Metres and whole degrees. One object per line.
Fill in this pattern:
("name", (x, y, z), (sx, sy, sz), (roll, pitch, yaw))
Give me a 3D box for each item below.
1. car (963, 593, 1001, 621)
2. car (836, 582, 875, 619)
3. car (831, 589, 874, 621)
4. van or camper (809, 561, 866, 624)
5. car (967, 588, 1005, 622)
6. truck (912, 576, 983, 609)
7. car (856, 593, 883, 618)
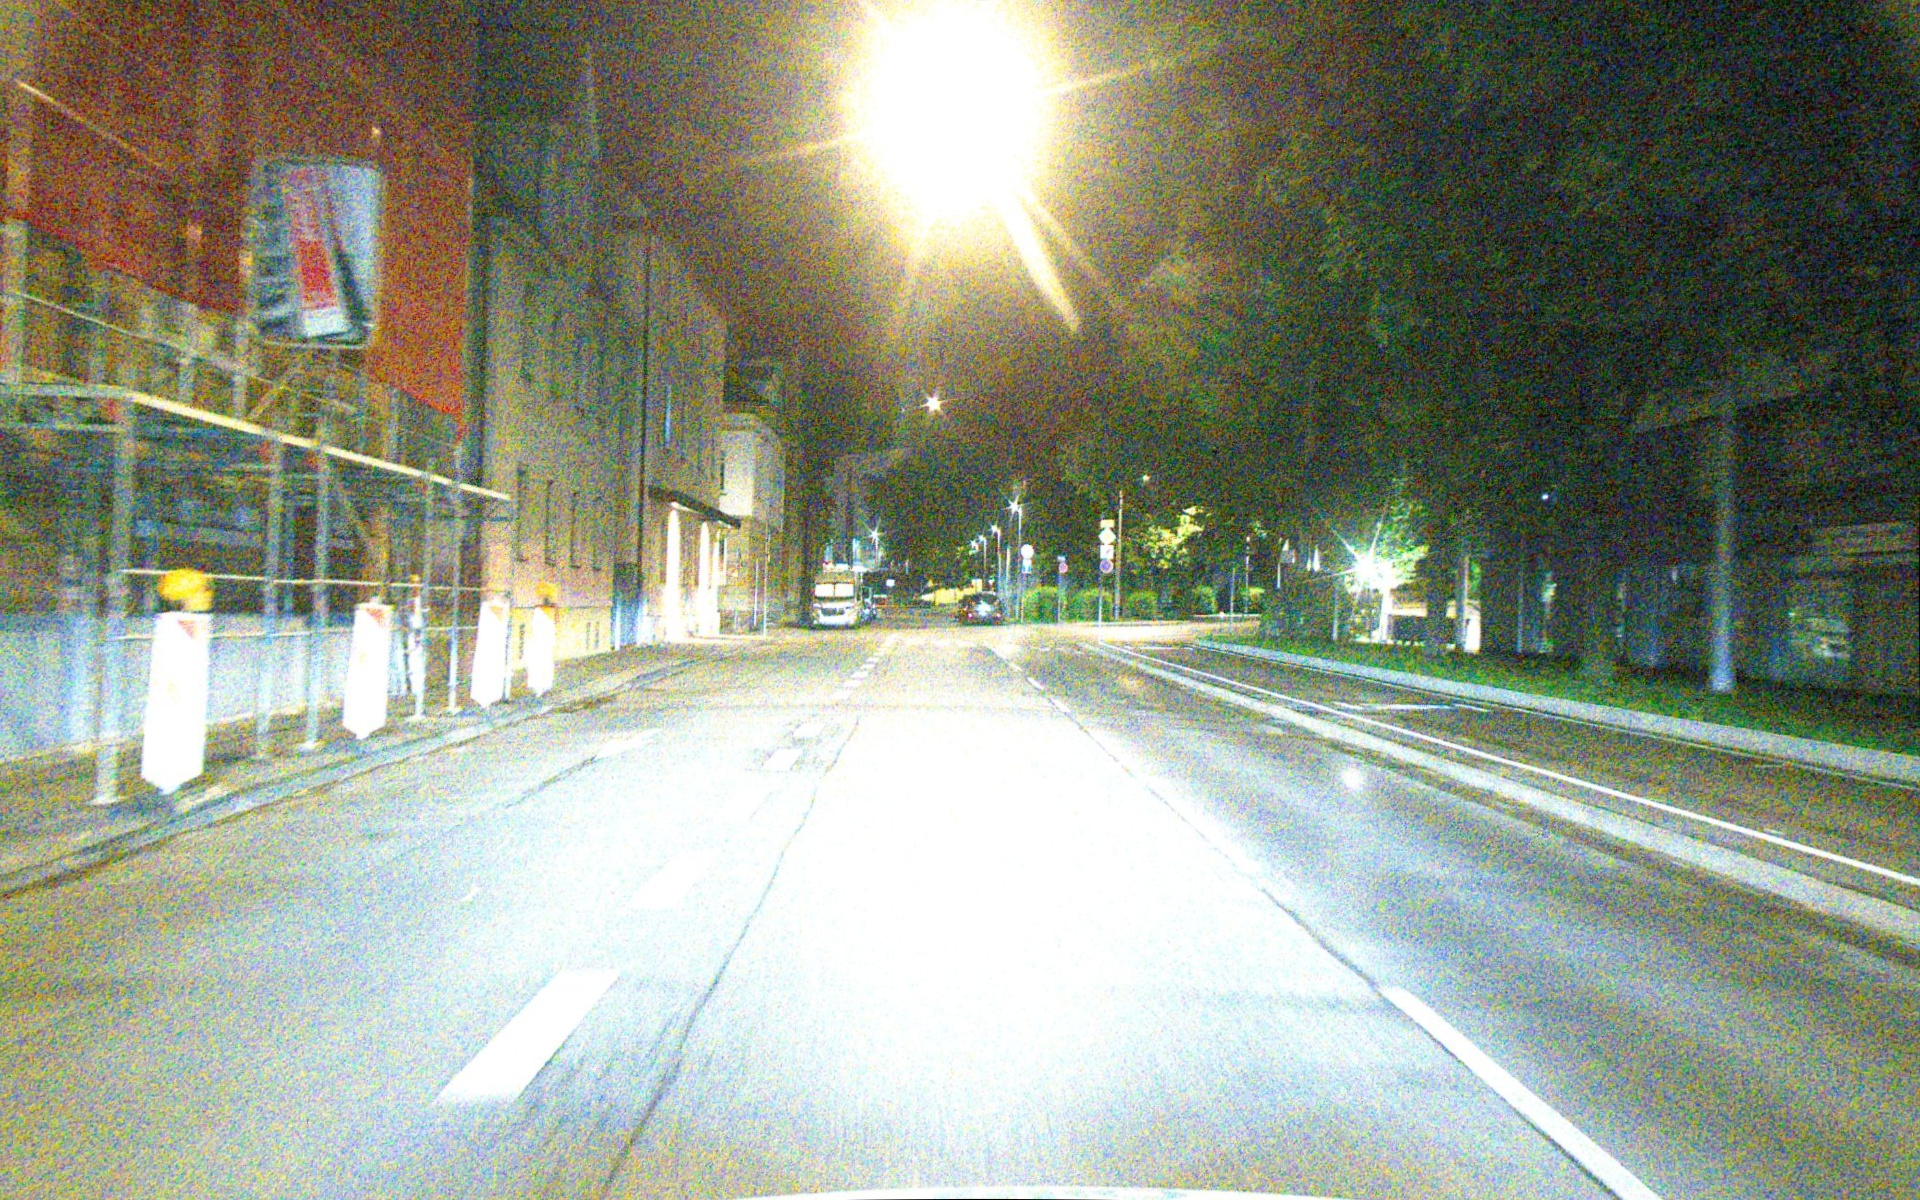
("car", (1.156, 0.406, 87.951), (1.923, 1.407, 3.999), (1, -1, -1))
("car", (-5.864, 0.051, 93.424), (1.953, 1.989, 4.804), (1, 0, -1))
("car", (-5.405, 0.273, 82.946), (1.804, 1.533, 4.734), (1, 0, -8))
("van or camper", (-5.283, -0.294, 71.983), (2.114, 2.580, 6.224), (-1, 0, -2))
("car", (1.284, 0.264, 82.515), (1.845, 1.631, 4.107), (0, -1, 1))
("truck", (-1.240, -0.732, 160.059), (6.643, 2.894, 1.998), (2, 0, -4))
("car", (-6.045, 0.381, 111.273), (1.643, 1.594, 4.103), (1, -1, -1))
